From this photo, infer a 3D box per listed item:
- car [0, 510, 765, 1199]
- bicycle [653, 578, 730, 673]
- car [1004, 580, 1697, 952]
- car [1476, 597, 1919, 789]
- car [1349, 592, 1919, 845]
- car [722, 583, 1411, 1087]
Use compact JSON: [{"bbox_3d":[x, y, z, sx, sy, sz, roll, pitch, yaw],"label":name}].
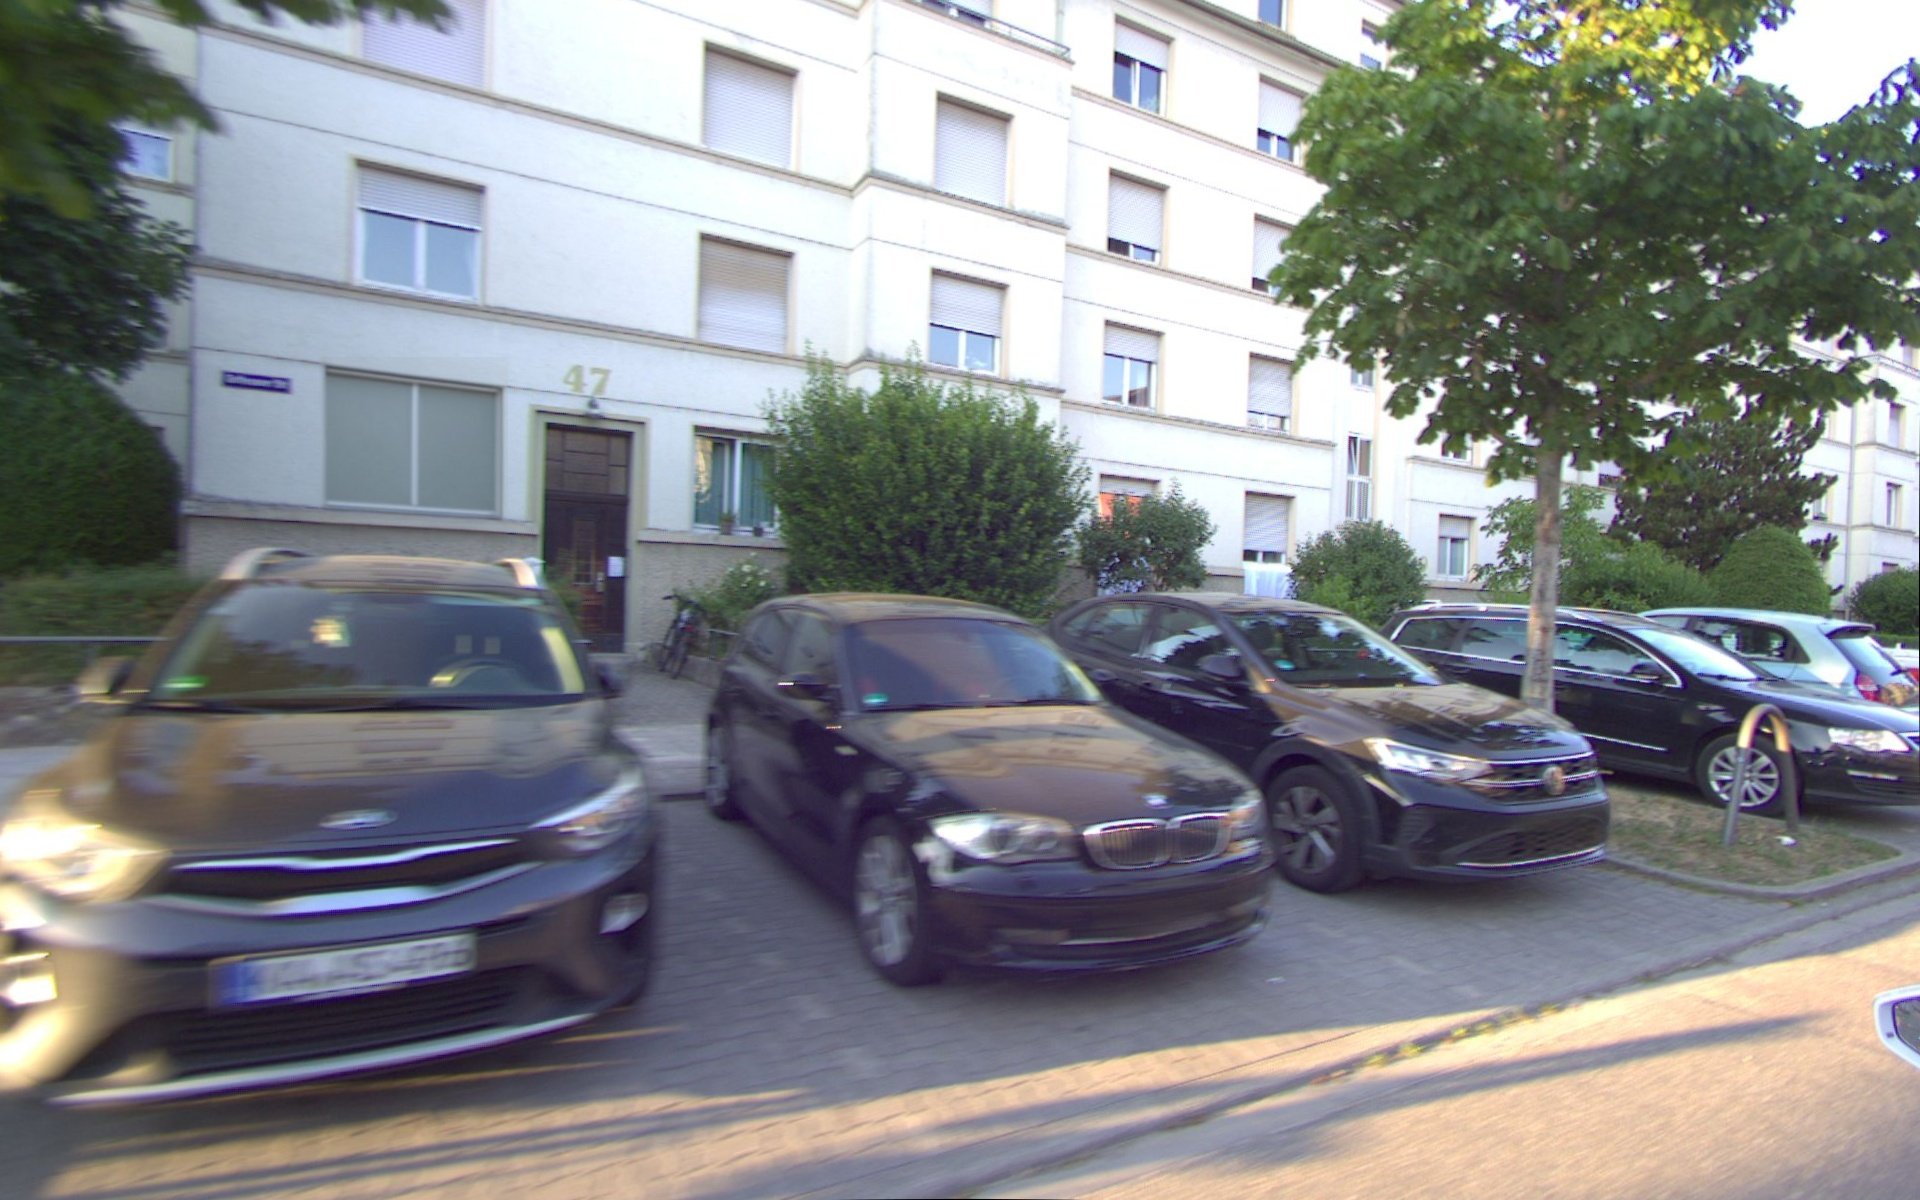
[{"bbox_3d":[-2.222,0.532,4.165,1.706,1.563,3.971,2,2,-27],"label":"car"},{"bbox_3d":[-4.041,0.352,15.026,0.438,1.336,1.877,1,0,-36],"label":"bicycle"},{"bbox_3d":[2.040,0.705,6.499,1.706,1.504,4.016,2,2,-27],"label":"car"},{"bbox_3d":[7.737,0.819,10.651,1.706,1.504,3.685,2,2,-27],"label":"car"},{"bbox_3d":[5.912,0.788,8.992,1.706,1.504,4.489,2,2,-27],"label":"car"},{"bbox_3d":[0.075,0.701,5.073,1.586,1.403,3.826,2,2,-27],"label":"car"}]
